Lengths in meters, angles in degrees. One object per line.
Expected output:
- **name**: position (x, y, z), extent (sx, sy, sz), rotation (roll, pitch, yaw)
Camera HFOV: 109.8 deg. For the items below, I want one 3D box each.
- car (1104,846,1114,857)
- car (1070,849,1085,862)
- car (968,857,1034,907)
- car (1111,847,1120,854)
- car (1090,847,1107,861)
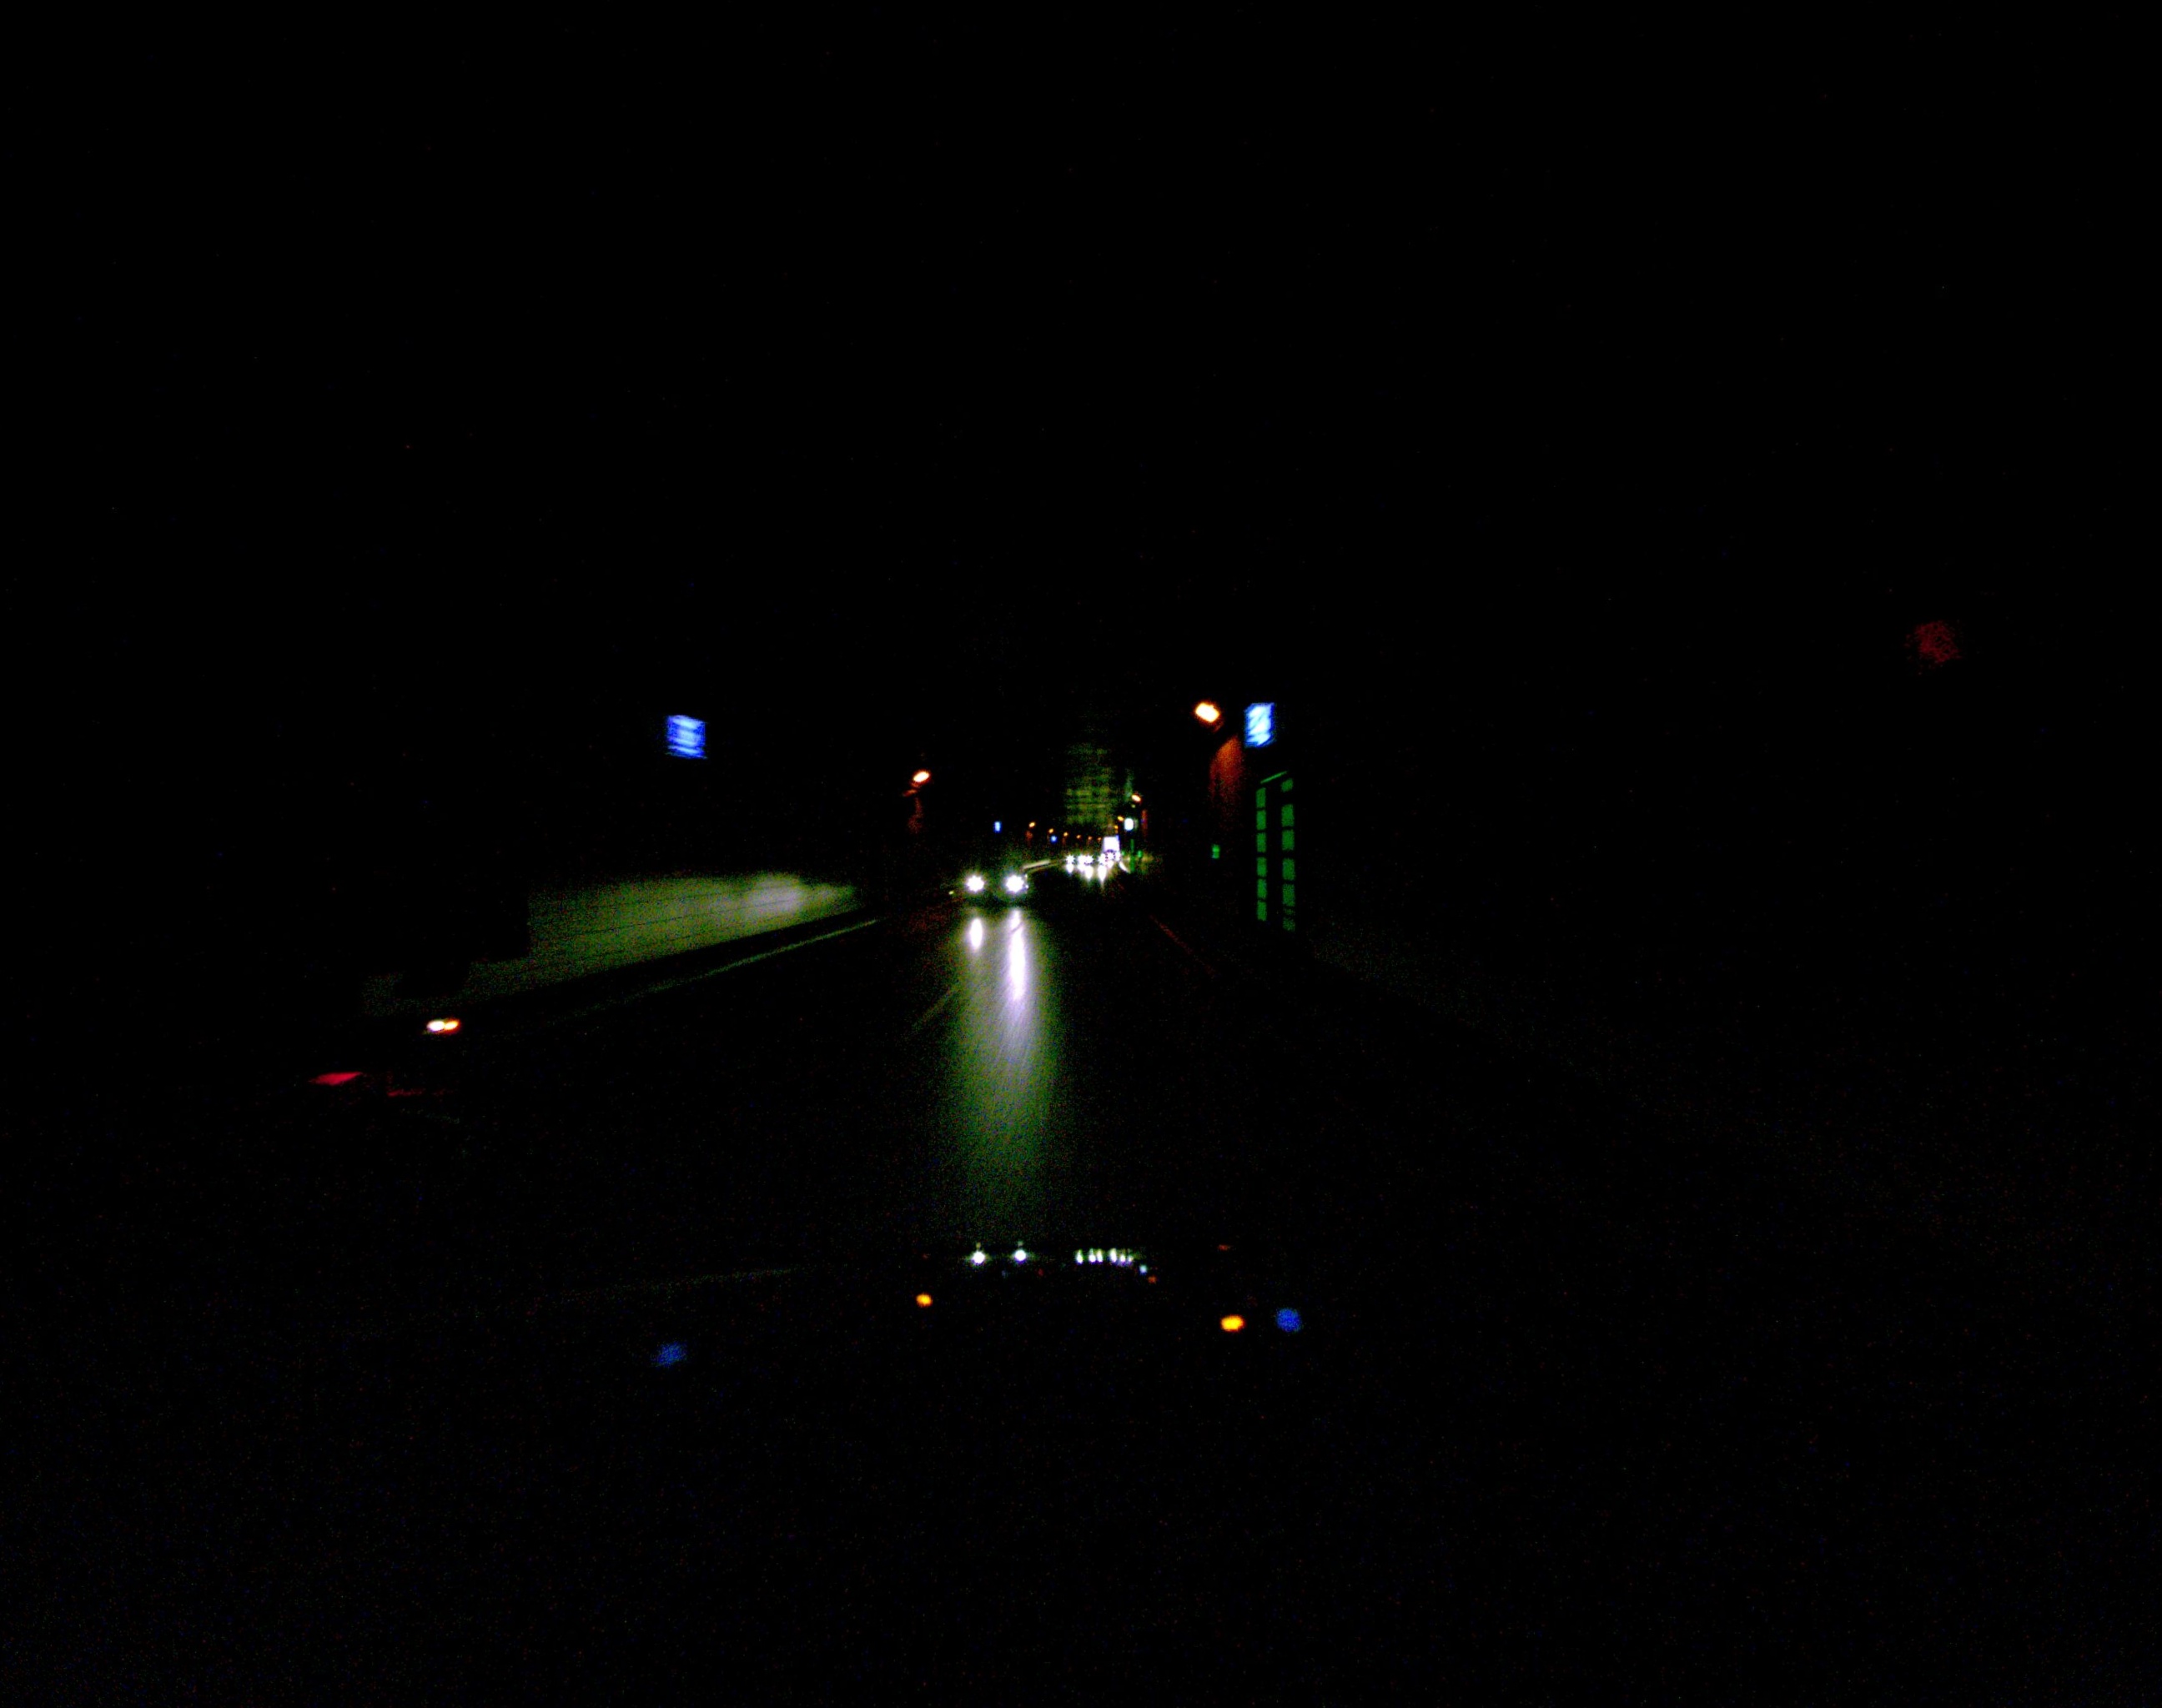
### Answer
- **car**: position (4.823, -0.430, 129.874), extent (1.714, 1.729, 3.999), rotation (-1, 2, 3)
- **car**: position (-0.427, 0.187, 103.413), extent (1.735, 1.565, 4.001), rotation (-2, 0, 3)
- **car**: position (-2.593, 0.883, 25.365), extent (1.735, 1.395, 3.798), rotation (-2, 1, 0)
- **car**: position (7.401, -0.775, 163.304), extent (1.811, 1.576, 4.001), rotation (-2, 0, 6)
- **car**: position (2.079, 0.029, 88.891), extent (1.819, 1.589, 4.001), rotation (0, 0, 4)
